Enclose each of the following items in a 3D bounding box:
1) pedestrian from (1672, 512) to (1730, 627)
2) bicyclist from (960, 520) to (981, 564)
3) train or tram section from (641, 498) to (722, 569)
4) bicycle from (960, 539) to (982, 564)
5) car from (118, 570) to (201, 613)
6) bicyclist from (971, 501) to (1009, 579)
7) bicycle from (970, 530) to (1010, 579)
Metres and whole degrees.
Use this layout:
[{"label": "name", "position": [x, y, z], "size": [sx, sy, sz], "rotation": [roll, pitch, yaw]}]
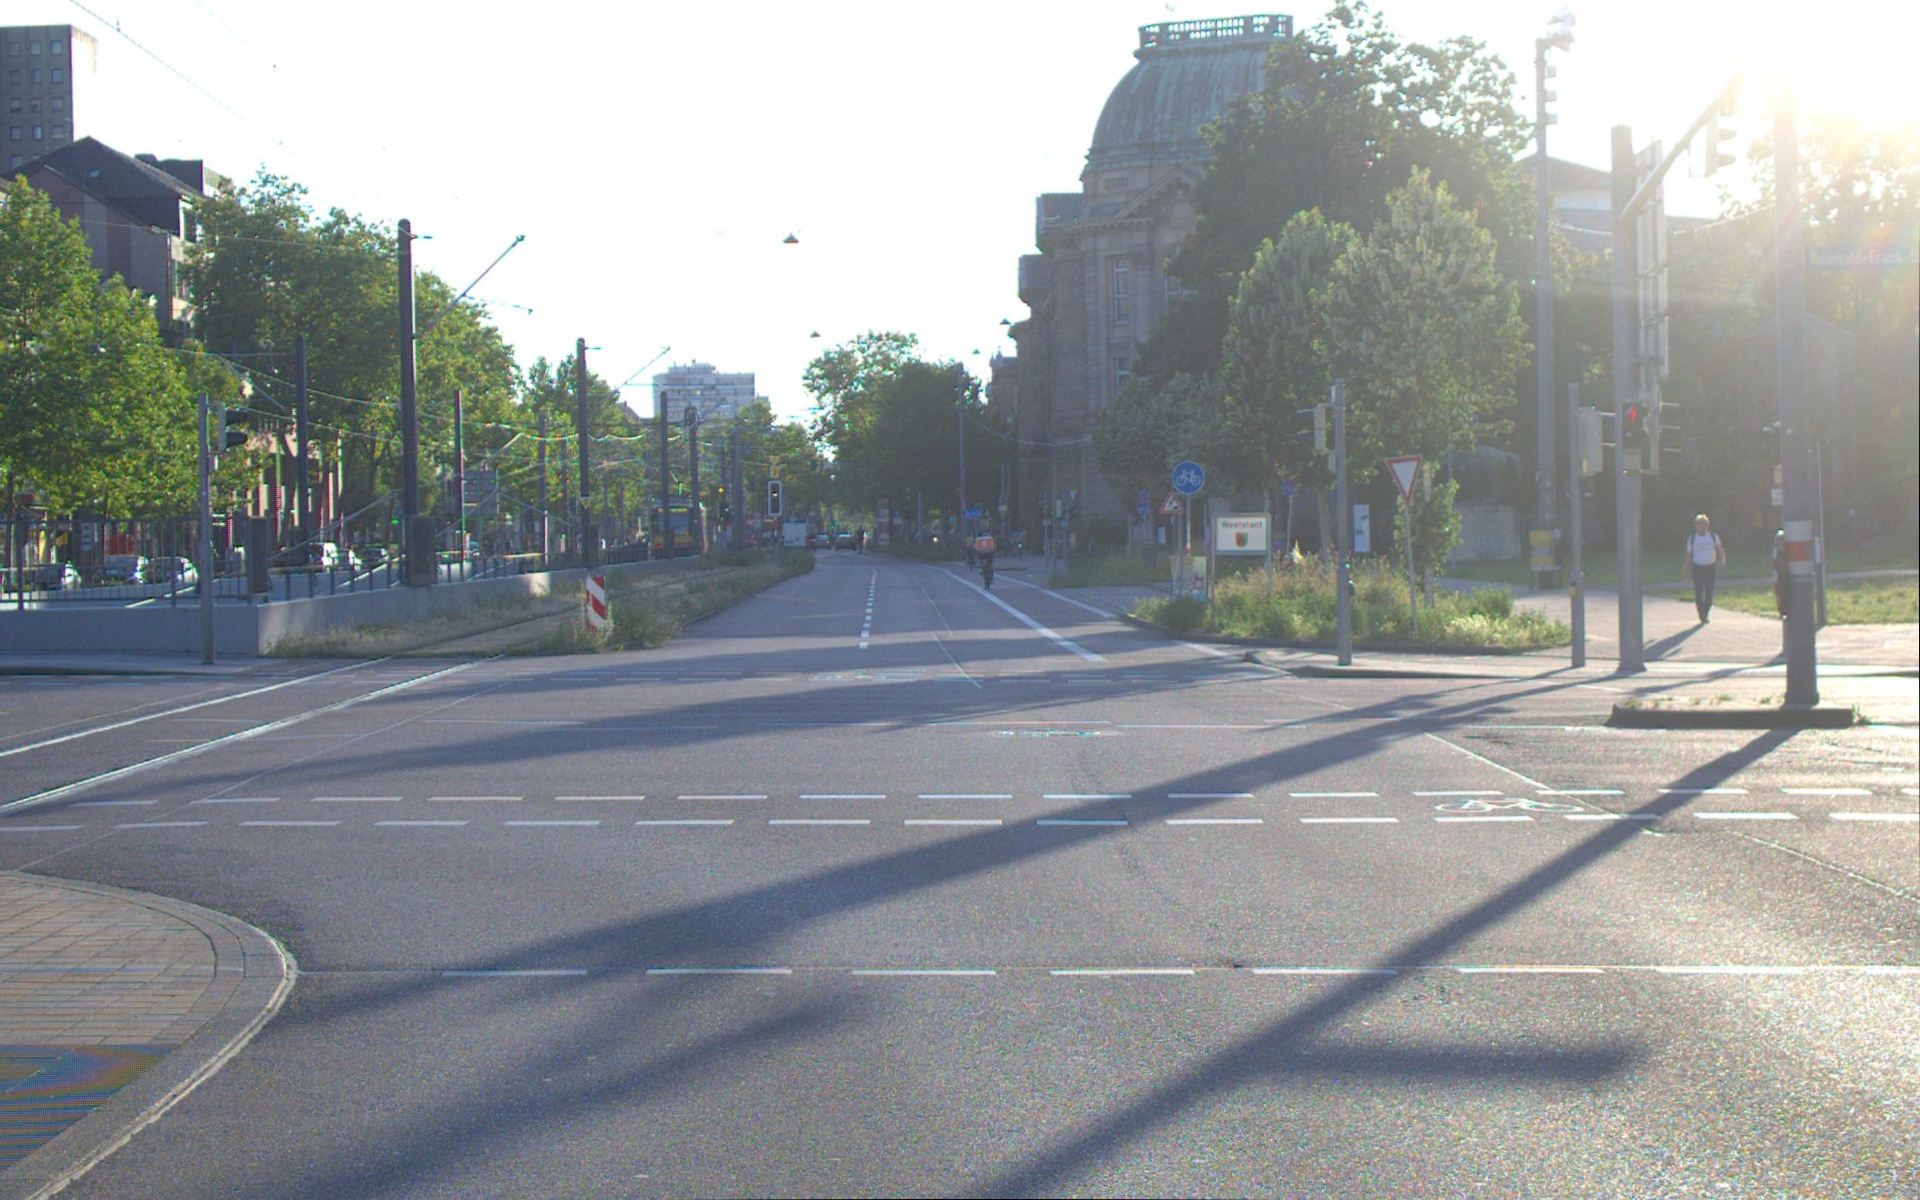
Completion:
[{"label": "pedestrian", "position": [11.756, -0.489, 54.537], "size": [0.833, 1.797, 0.810], "rotation": [-1, 1, 15]}, {"label": "bicyclist", "position": [0.488, -2.635, 155.754], "size": [0.925, 2.007, 0.850], "rotation": [-1, 1, -1]}, {"label": "train or tram section", "position": [-15.859, -3.798, 196.041], "size": [4.385, 3.837, 11.412], "rotation": [-1, 1, -5]}, {"label": "bicycle", "position": [0.497, -2.211, 155.651], "size": [0.924, 1.108, 2.333], "rotation": [-1, 1, -1]}, {"label": "car", "position": [-28.672, -0.314, 123.244], "size": [1.819, 1.415, 4.000], "rotation": [-1, 1, 3]}, {"label": "bicyclist", "position": [0.884, -1.753, 100.853], "size": [1.082, 2.268, 0.986], "rotation": [-1, 1, -1]}, {"label": "bicycle", "position": [0.867, -1.346, 100.862], "size": [1.098, 1.394, 2.832], "rotation": [-1, 1, -1]}]
